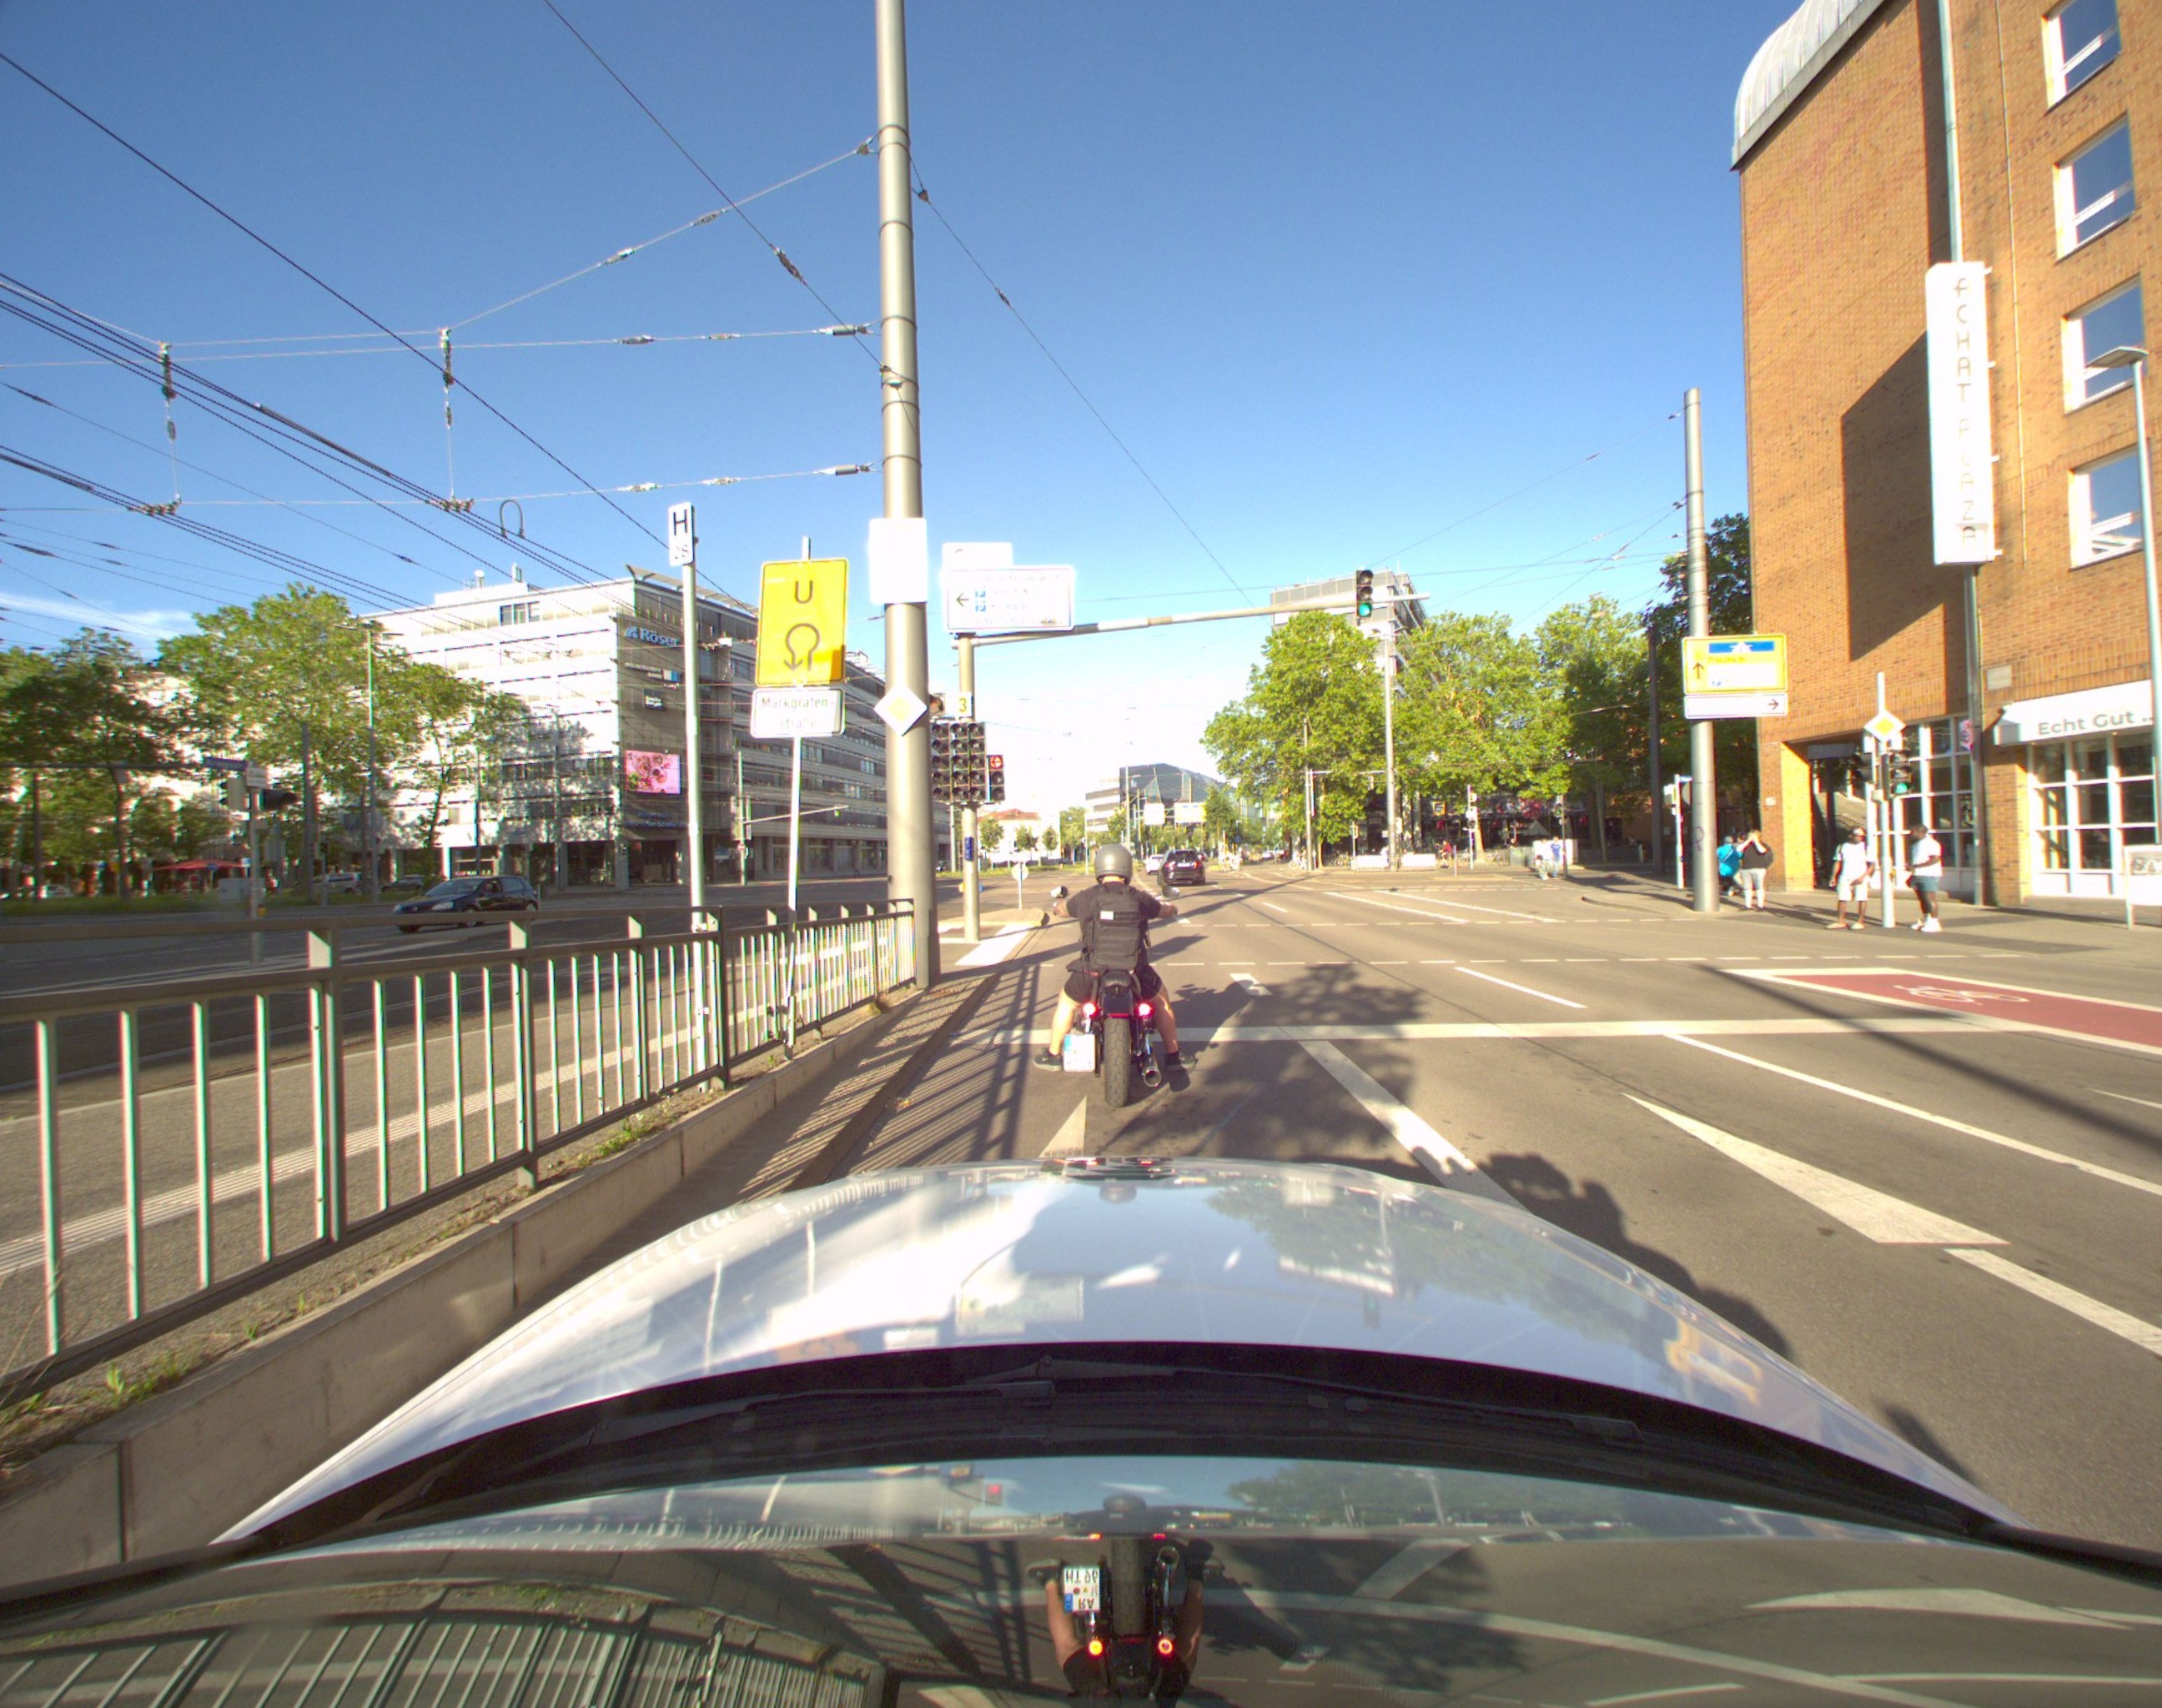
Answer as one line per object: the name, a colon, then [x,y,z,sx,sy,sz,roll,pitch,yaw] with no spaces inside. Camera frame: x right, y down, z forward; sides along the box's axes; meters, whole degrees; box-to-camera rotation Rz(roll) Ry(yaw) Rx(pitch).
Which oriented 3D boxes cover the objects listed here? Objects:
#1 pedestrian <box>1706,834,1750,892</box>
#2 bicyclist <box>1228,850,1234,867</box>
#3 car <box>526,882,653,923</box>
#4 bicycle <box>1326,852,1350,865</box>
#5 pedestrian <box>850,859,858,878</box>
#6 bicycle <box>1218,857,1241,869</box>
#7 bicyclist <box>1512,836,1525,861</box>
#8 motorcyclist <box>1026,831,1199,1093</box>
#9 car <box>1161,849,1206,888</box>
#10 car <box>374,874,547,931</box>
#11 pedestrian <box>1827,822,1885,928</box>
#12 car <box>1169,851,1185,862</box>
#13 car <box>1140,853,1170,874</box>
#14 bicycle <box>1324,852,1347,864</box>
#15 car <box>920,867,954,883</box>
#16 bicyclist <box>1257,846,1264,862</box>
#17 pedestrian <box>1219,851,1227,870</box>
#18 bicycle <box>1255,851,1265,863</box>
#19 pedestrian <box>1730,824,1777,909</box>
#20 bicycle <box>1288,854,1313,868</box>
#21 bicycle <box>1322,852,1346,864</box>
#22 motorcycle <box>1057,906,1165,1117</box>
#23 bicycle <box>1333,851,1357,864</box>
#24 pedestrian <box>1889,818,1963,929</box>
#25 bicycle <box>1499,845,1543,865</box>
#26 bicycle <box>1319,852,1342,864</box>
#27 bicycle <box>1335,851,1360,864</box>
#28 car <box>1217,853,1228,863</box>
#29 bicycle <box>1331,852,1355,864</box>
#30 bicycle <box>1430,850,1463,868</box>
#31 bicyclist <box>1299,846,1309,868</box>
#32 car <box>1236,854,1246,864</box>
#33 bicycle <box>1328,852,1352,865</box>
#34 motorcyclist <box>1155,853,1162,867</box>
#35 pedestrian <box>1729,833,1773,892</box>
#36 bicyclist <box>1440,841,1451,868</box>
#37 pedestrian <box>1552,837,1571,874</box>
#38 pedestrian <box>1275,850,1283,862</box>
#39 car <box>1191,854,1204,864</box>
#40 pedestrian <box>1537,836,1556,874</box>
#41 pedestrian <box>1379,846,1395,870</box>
pedestrian: [16.523,0.227,20.815,0.590,1.452,0.601,-2,-1,2]
bicyclist: [12.374,0.392,66.994,0.380,1.373,0.344,0,-1,-7]
car: [-13.881,1.359,23.146,2.884,1.063,1.235,0,-1,-19]
bicycle: [21.505,0.355,68.159,1.874,1.046,0.360,0,-1,1]
pedestrian: [-25.145,1.609,90.285,0.628,2.014,0.754,0,-1,2]
bicycle: [12.173,0.752,66.938,1.823,0.925,0.357,0,-1,-7]
bicyclist: [27.003,-0.327,50.278,0.626,1.519,0.570,-1,-1,25]
motorcyclist: [0.205,0.670,5.470,1.027,1.593,0.874,-2,0,1]
car: [4.675,0.613,36.740,1.793,1.595,4.464,-2,0,9]
car: [-17.632,1.332,23.448,1.821,1.430,4.237,0,-1,-2]
pedestrian: [13.560,0.360,14.265,0.586,1.780,0.686,-5,0,39]
car: [14.298,0.367,121.428,1.790,1.430,4.470,-2,0,14]
car: [5.363,0.661,59.472,1.797,1.430,4.453,-2,0,1]
bicycle: [21.466,0.349,68.645,1.874,1.046,0.360,0,0,1]
car: [-13.916,1.987,79.057,1.737,1.524,4.014,-1,-1,13]
bicyclist: [19.999,0.001,90.934,0.693,1.808,0.730,0,-1,6]
pedestrian: [11.970,0.537,68.610,0.587,1.557,0.488,0,-1,-6]
bicycle: [20.022,0.346,91.070,0.722,1.367,2.922,0,-1,6]
pedestrian: [14.589,0.274,17.666,0.727,1.792,0.515,-1,-1,42]
bicycle: [17.532,0.564,64.982,1.854,1.044,0.540,-1,-1,20]
bicycle: [21.480,0.349,69.145,1.874,1.046,0.360,0,0,1]
motorcycle: [0.202,0.953,5.680,0.598,1.036,2.235,0,0,2]
bicycle: [21.446,0.305,66.156,1.874,1.046,0.360,0,-1,1]
pedestrian: [14.074,0.322,13.566,0.682,1.780,0.589,-2,-1,-24]
bicycle: [27.113,0.052,50.231,2.301,1.178,0.571,-1,-1,24]
bicycle: [21.495,0.355,70.297,1.874,1.046,0.360,0,0,1]
bicycle: [21.359,0.284,65.375,1.874,1.046,0.360,0,-1,1]
car: [26.623,0.849,153.230,1.717,1.838,3.589,-1,-1,14]
bicycle: [21.517,0.329,66.970,1.874,1.046,0.360,0,-1,1]
bicycle: [25.171,0.349,56.105,2.034,1.214,0.421,0,-1,2]
bicyclist: [17.765,0.241,64.902,0.682,1.673,0.544,-2,-2,21]
car: [27.556,0.866,140.189,1.519,1.838,3.589,-1,-1,15]
bicycle: [21.495,0.348,67.527,1.874,1.046,0.360,0,0,1]
motorcyclist: [9.076,0.698,95.324,0.792,1.580,0.530,0,-1,7]
pedestrian: [17.249,0.227,20.974,0.590,1.476,0.552,-2,-1,2]
bicyclist: [25.125,0.041,56.147,0.582,1.837,0.403,0,-1,1]
pedestrian: [19.748,0.059,33.475,0.561,1.479,0.706,-1,-1,22]
pedestrian: [21.962,0.278,90.282,0.814,1.314,0.640,-1,-1,11]
car: [19.607,0.819,137.491,1.790,1.678,4.055,0,-1,14]
pedestrian: [19.108,0.033,33.447,0.561,1.532,0.706,-1,-1,22]
pedestrian: [22.134,0.277,58.930,0.829,1.704,0.760,0,-1,2]
